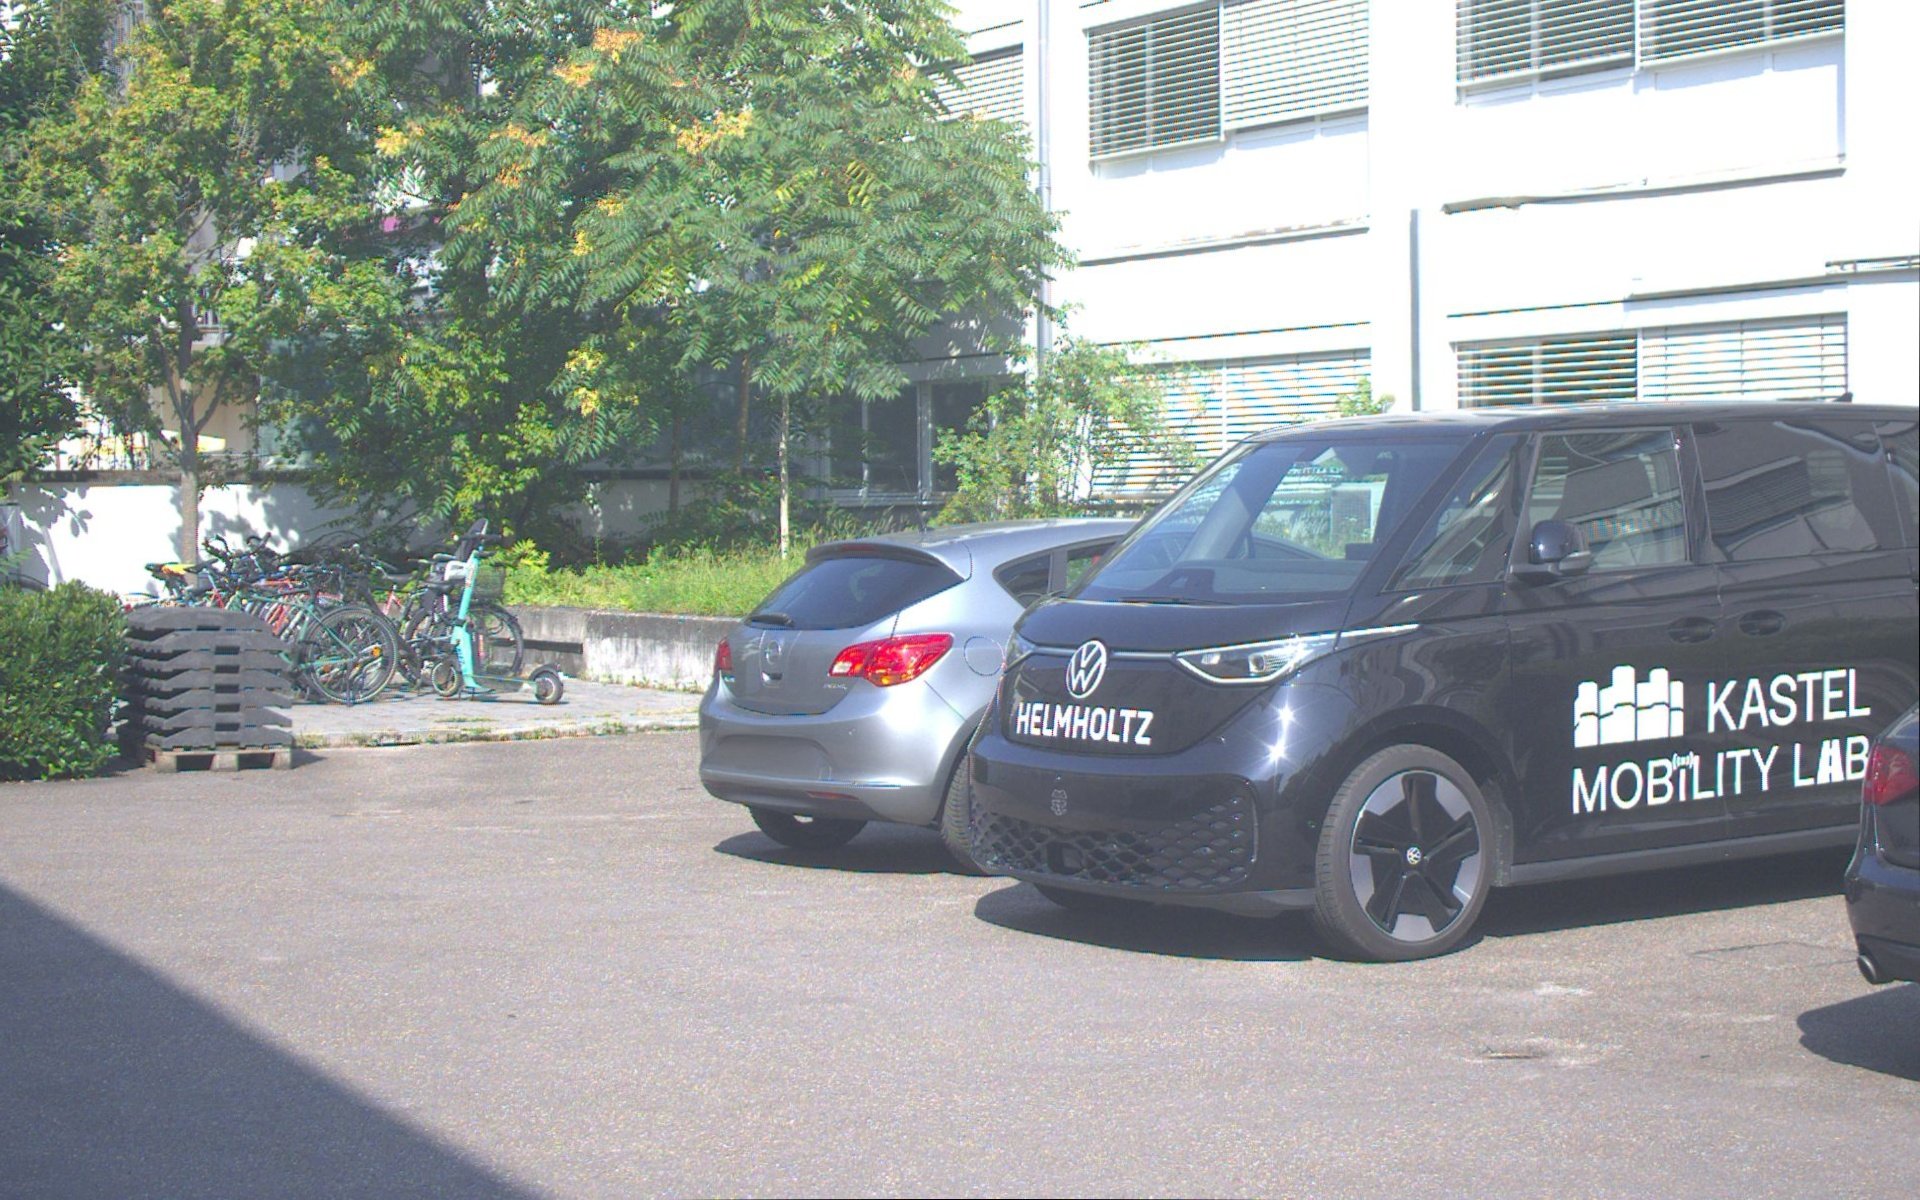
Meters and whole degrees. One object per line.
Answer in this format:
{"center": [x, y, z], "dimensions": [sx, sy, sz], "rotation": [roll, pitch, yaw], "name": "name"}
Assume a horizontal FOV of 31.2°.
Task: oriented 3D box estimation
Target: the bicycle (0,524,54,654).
{"center": [-8.895, -0.090, 31.195], "dimensions": [0.488, 1.139, 1.993], "rotation": [0, 3, 10], "name": "bicycle"}

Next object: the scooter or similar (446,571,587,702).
{"center": [-3.235, 0.259, 25.076], "dimensions": [0.998, 0.921, 0.360], "rotation": [1, 2, 28], "name": "scooter or similar"}

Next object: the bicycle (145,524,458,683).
{"center": [-5.284, 0.017, 27.649], "dimensions": [2.410, 1.242, 0.526], "rotation": [0, 2, -24], "name": "bicycle"}

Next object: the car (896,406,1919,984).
{"center": [2.106, 0.215, 13.008], "dimensions": [4.335, 1.852, 1.915], "rotation": [-2, 3, -34], "name": "car"}

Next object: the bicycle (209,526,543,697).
{"center": [-4.360, 0.073, 25.731], "dimensions": [2.410, 1.242, 0.526], "rotation": [0, 2, -24], "name": "bicycle"}

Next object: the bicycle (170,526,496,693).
{"center": [-4.813, 0.059, 26.444], "dimensions": [2.410, 1.242, 0.526], "rotation": [0, 2, -24], "name": "bicycle"}

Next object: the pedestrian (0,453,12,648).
{"center": [-9.138, -0.453, 31.171], "dimensions": [0.858, 1.765, 0.611], "rotation": [1, 1, 10], "name": "pedestrian"}

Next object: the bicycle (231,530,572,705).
{"center": [-4.070, 0.113, 25.123], "dimensions": [2.410, 1.242, 0.526], "rotation": [0, 2, -24], "name": "bicycle"}

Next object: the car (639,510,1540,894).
{"center": [0.657, 0.357, 15.519], "dimensions": [3.897, 1.461, 1.662], "rotation": [-2, 3, -38], "name": "car"}

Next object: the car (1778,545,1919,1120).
{"center": [4.446, 0.550, 9.310], "dimensions": [4.232, 1.432, 1.691], "rotation": [-2, 2, -26], "name": "car"}

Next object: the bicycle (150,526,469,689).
{"center": [-5.108, 0.046, 27.042], "dimensions": [2.410, 1.242, 0.526], "rotation": [0, 2, -25], "name": "bicycle"}
